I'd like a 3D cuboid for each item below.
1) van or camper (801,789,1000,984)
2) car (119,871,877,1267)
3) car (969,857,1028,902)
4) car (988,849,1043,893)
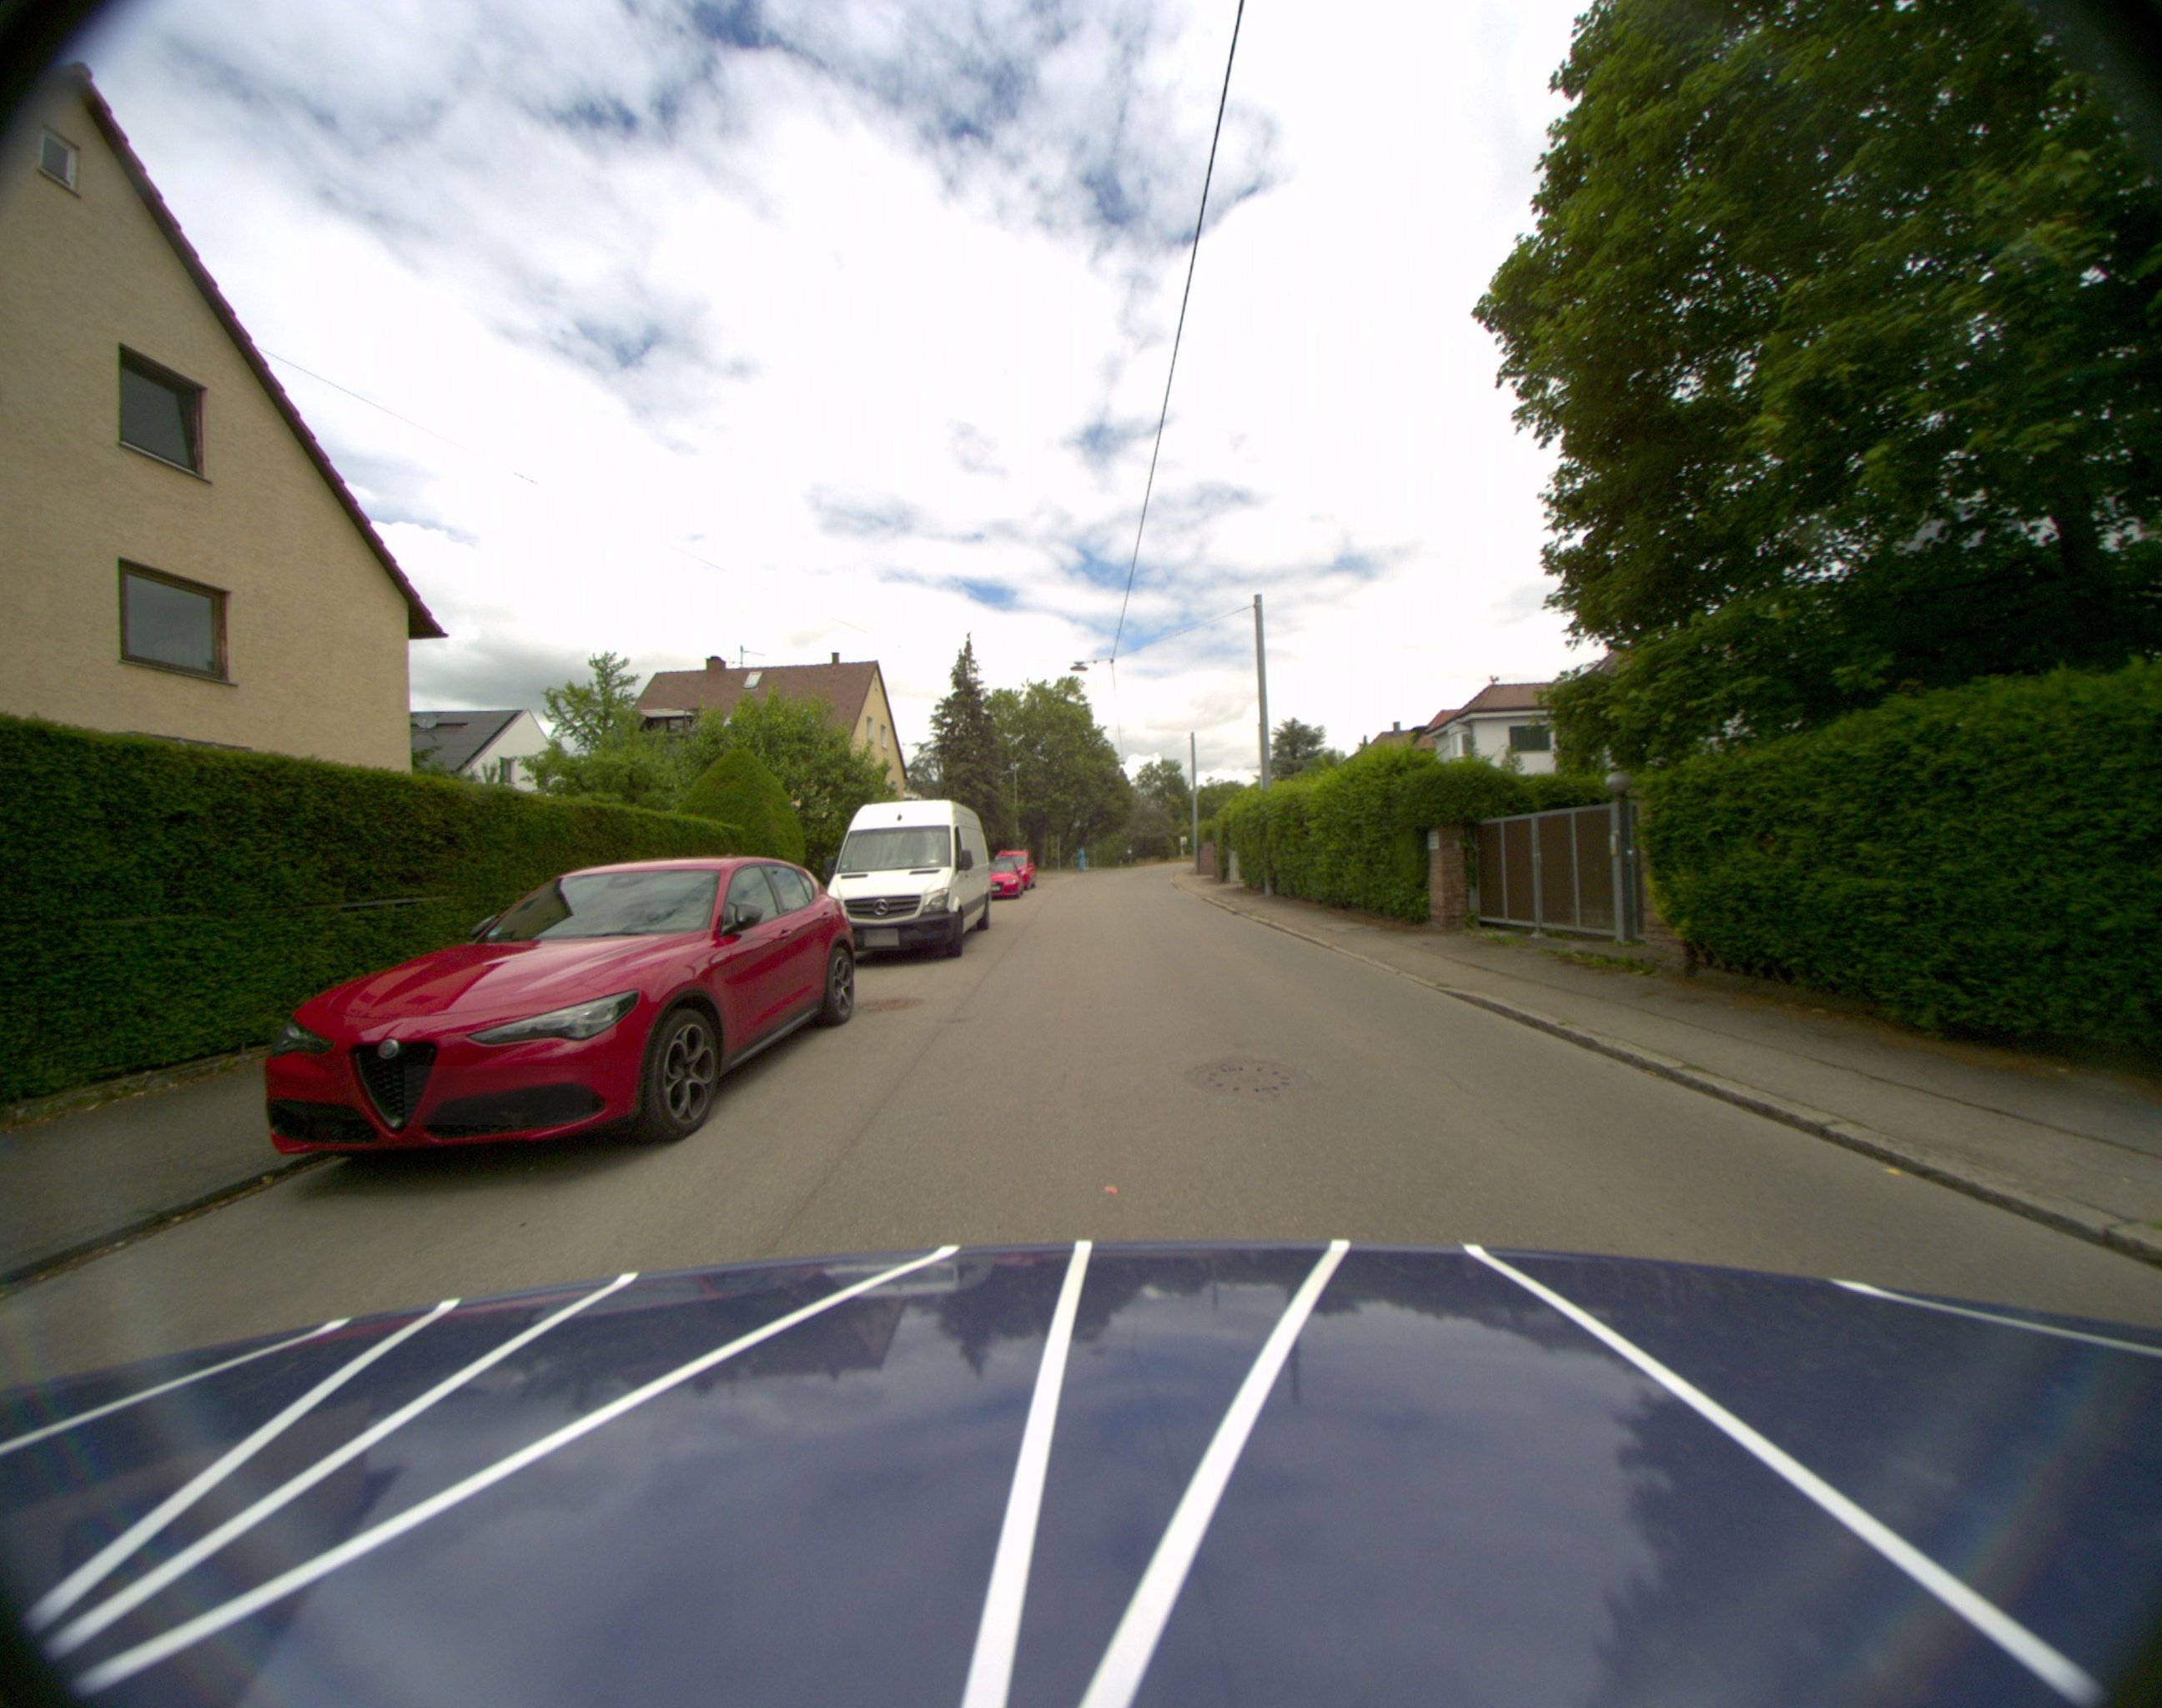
[{"bbox_3d":[-2.890,0.424,14.099,2.047,2.605,7.037,-3,1,-2],"label":"van or camper"},{"bbox_3d":[-3.159,0.987,5.665,1.893,1.572,4.765,-1,0,1],"label":"car"},{"bbox_3d":[-2.986,0.889,28.323,1.704,1.421,4.394,-3,0,-1],"label":"car"},{"bbox_3d":[-2.873,0.696,34.170,1.771,1.755,4.162,-3,0,3],"label":"car"}]
